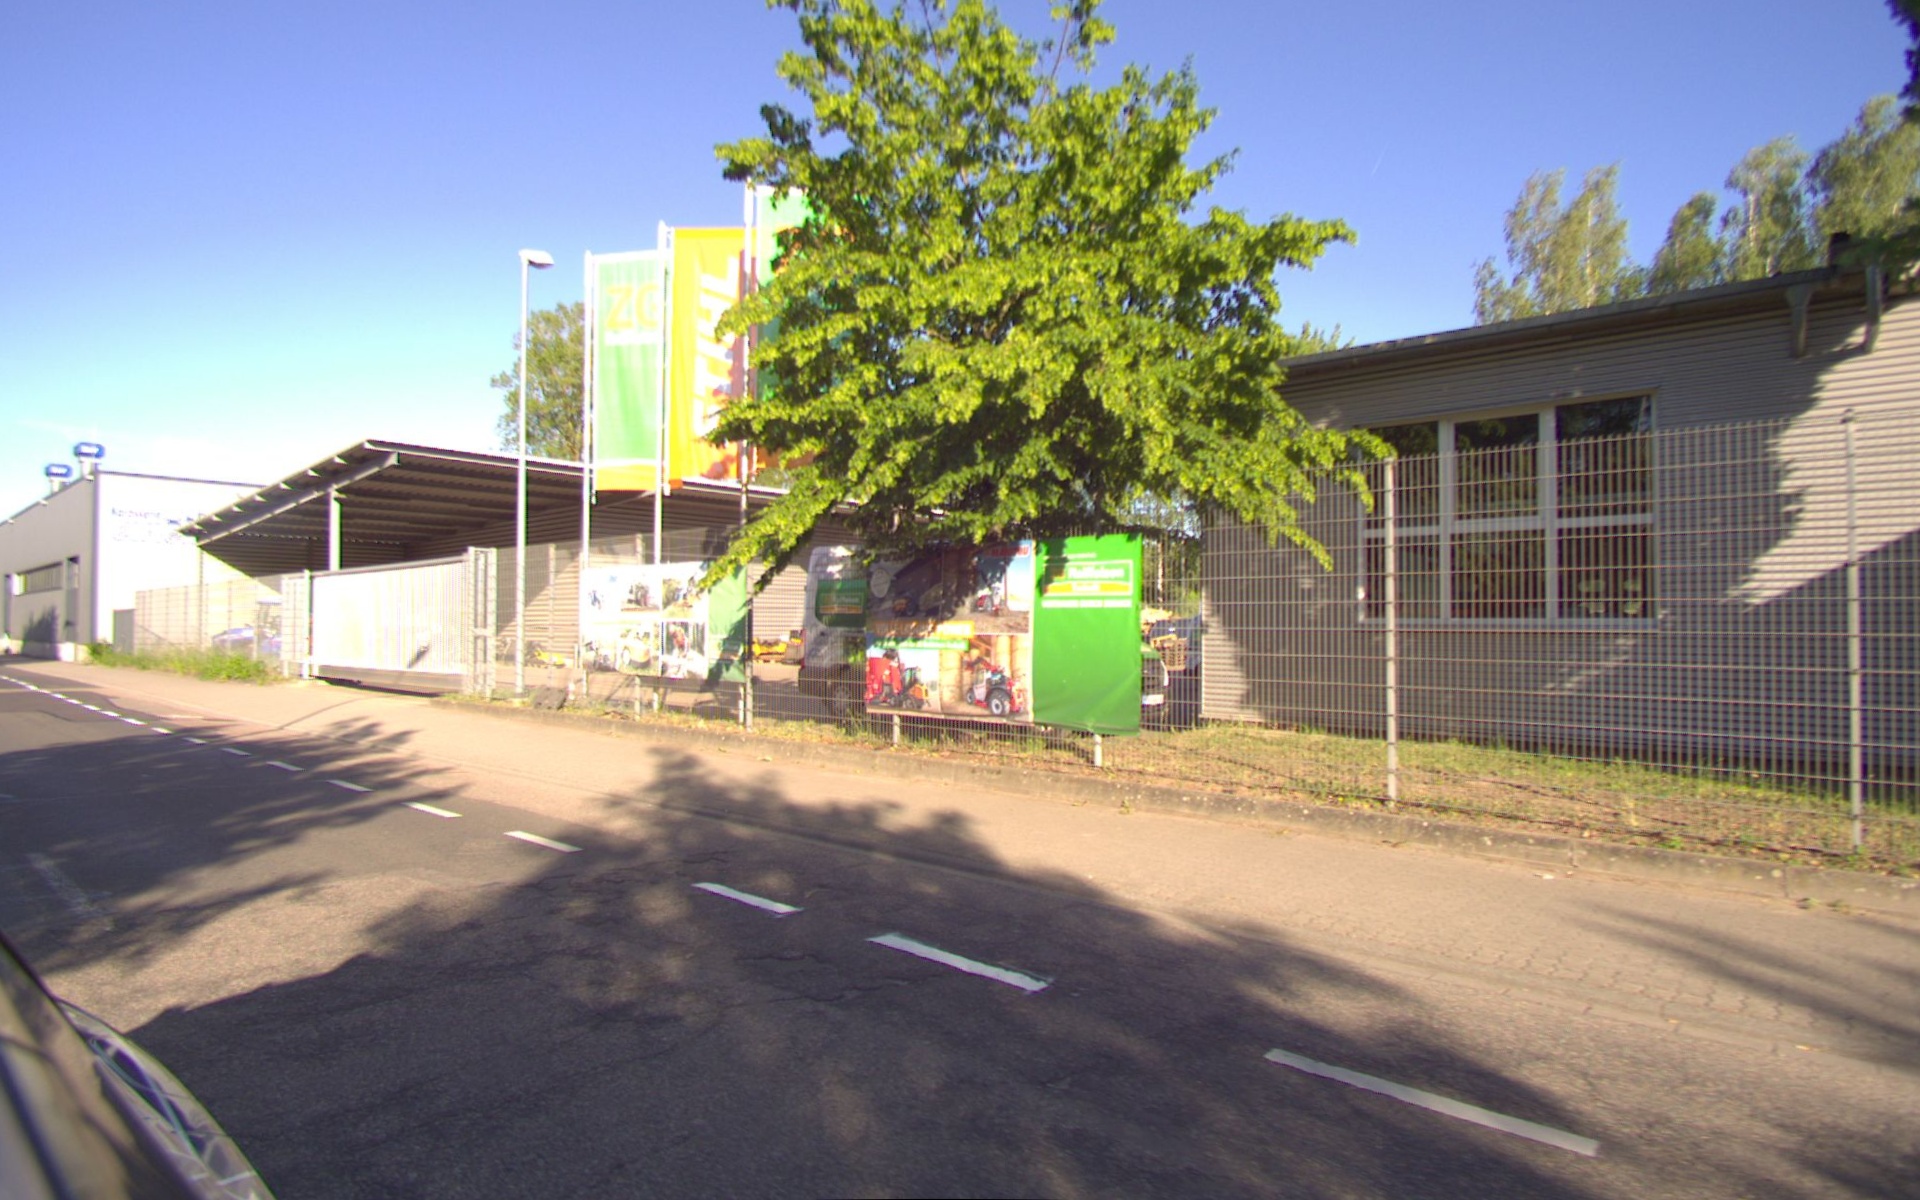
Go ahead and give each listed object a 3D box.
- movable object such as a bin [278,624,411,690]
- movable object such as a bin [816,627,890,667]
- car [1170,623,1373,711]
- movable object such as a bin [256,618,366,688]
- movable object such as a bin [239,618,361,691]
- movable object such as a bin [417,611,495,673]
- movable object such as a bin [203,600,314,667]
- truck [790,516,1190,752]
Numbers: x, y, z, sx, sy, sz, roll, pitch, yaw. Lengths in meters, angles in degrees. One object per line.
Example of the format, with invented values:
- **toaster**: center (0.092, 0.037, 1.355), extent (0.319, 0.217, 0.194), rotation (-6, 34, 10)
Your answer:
- **movable object such as a bin**: center (-18.135, 1.675, 29.890), extent (1.524, 1.849, 3.008), rotation (-3, -4, 39)
- **movable object such as a bin**: center (-4.143, 1.800, 39.021), extent (2.756, 1.502, 1.314), rotation (-1, -3, 41)
- **car**: center (7.088, 1.506, 23.243), extent (3.998, 1.829, 1.973), rotation (-2, -4, 41)
- **movable object such as a bin**: center (-20.808, 1.701, 32.570), extent (2.752, 2.142, 1.389), rotation (1, -3, -24)
- **movable object such as a bin**: center (-20.173, 1.660, 31.055), extent (2.839, 2.165, 1.504), rotation (1, -3, -22)
- **movable object such as a bin**: center (-17.902, 1.515, 35.943), extent (2.475, 2.109, 1.560), rotation (-3, -4, 39)
- **movable object such as a bin**: center (-23.605, 1.140, 34.158), extent (2.725, 2.181, 1.528), rotation (1, -3, -19)
- **truck**: center (0.218, 0.524, 14.605), extent (5.761, 2.783, 2.057), rotation (-2, -4, 41)
